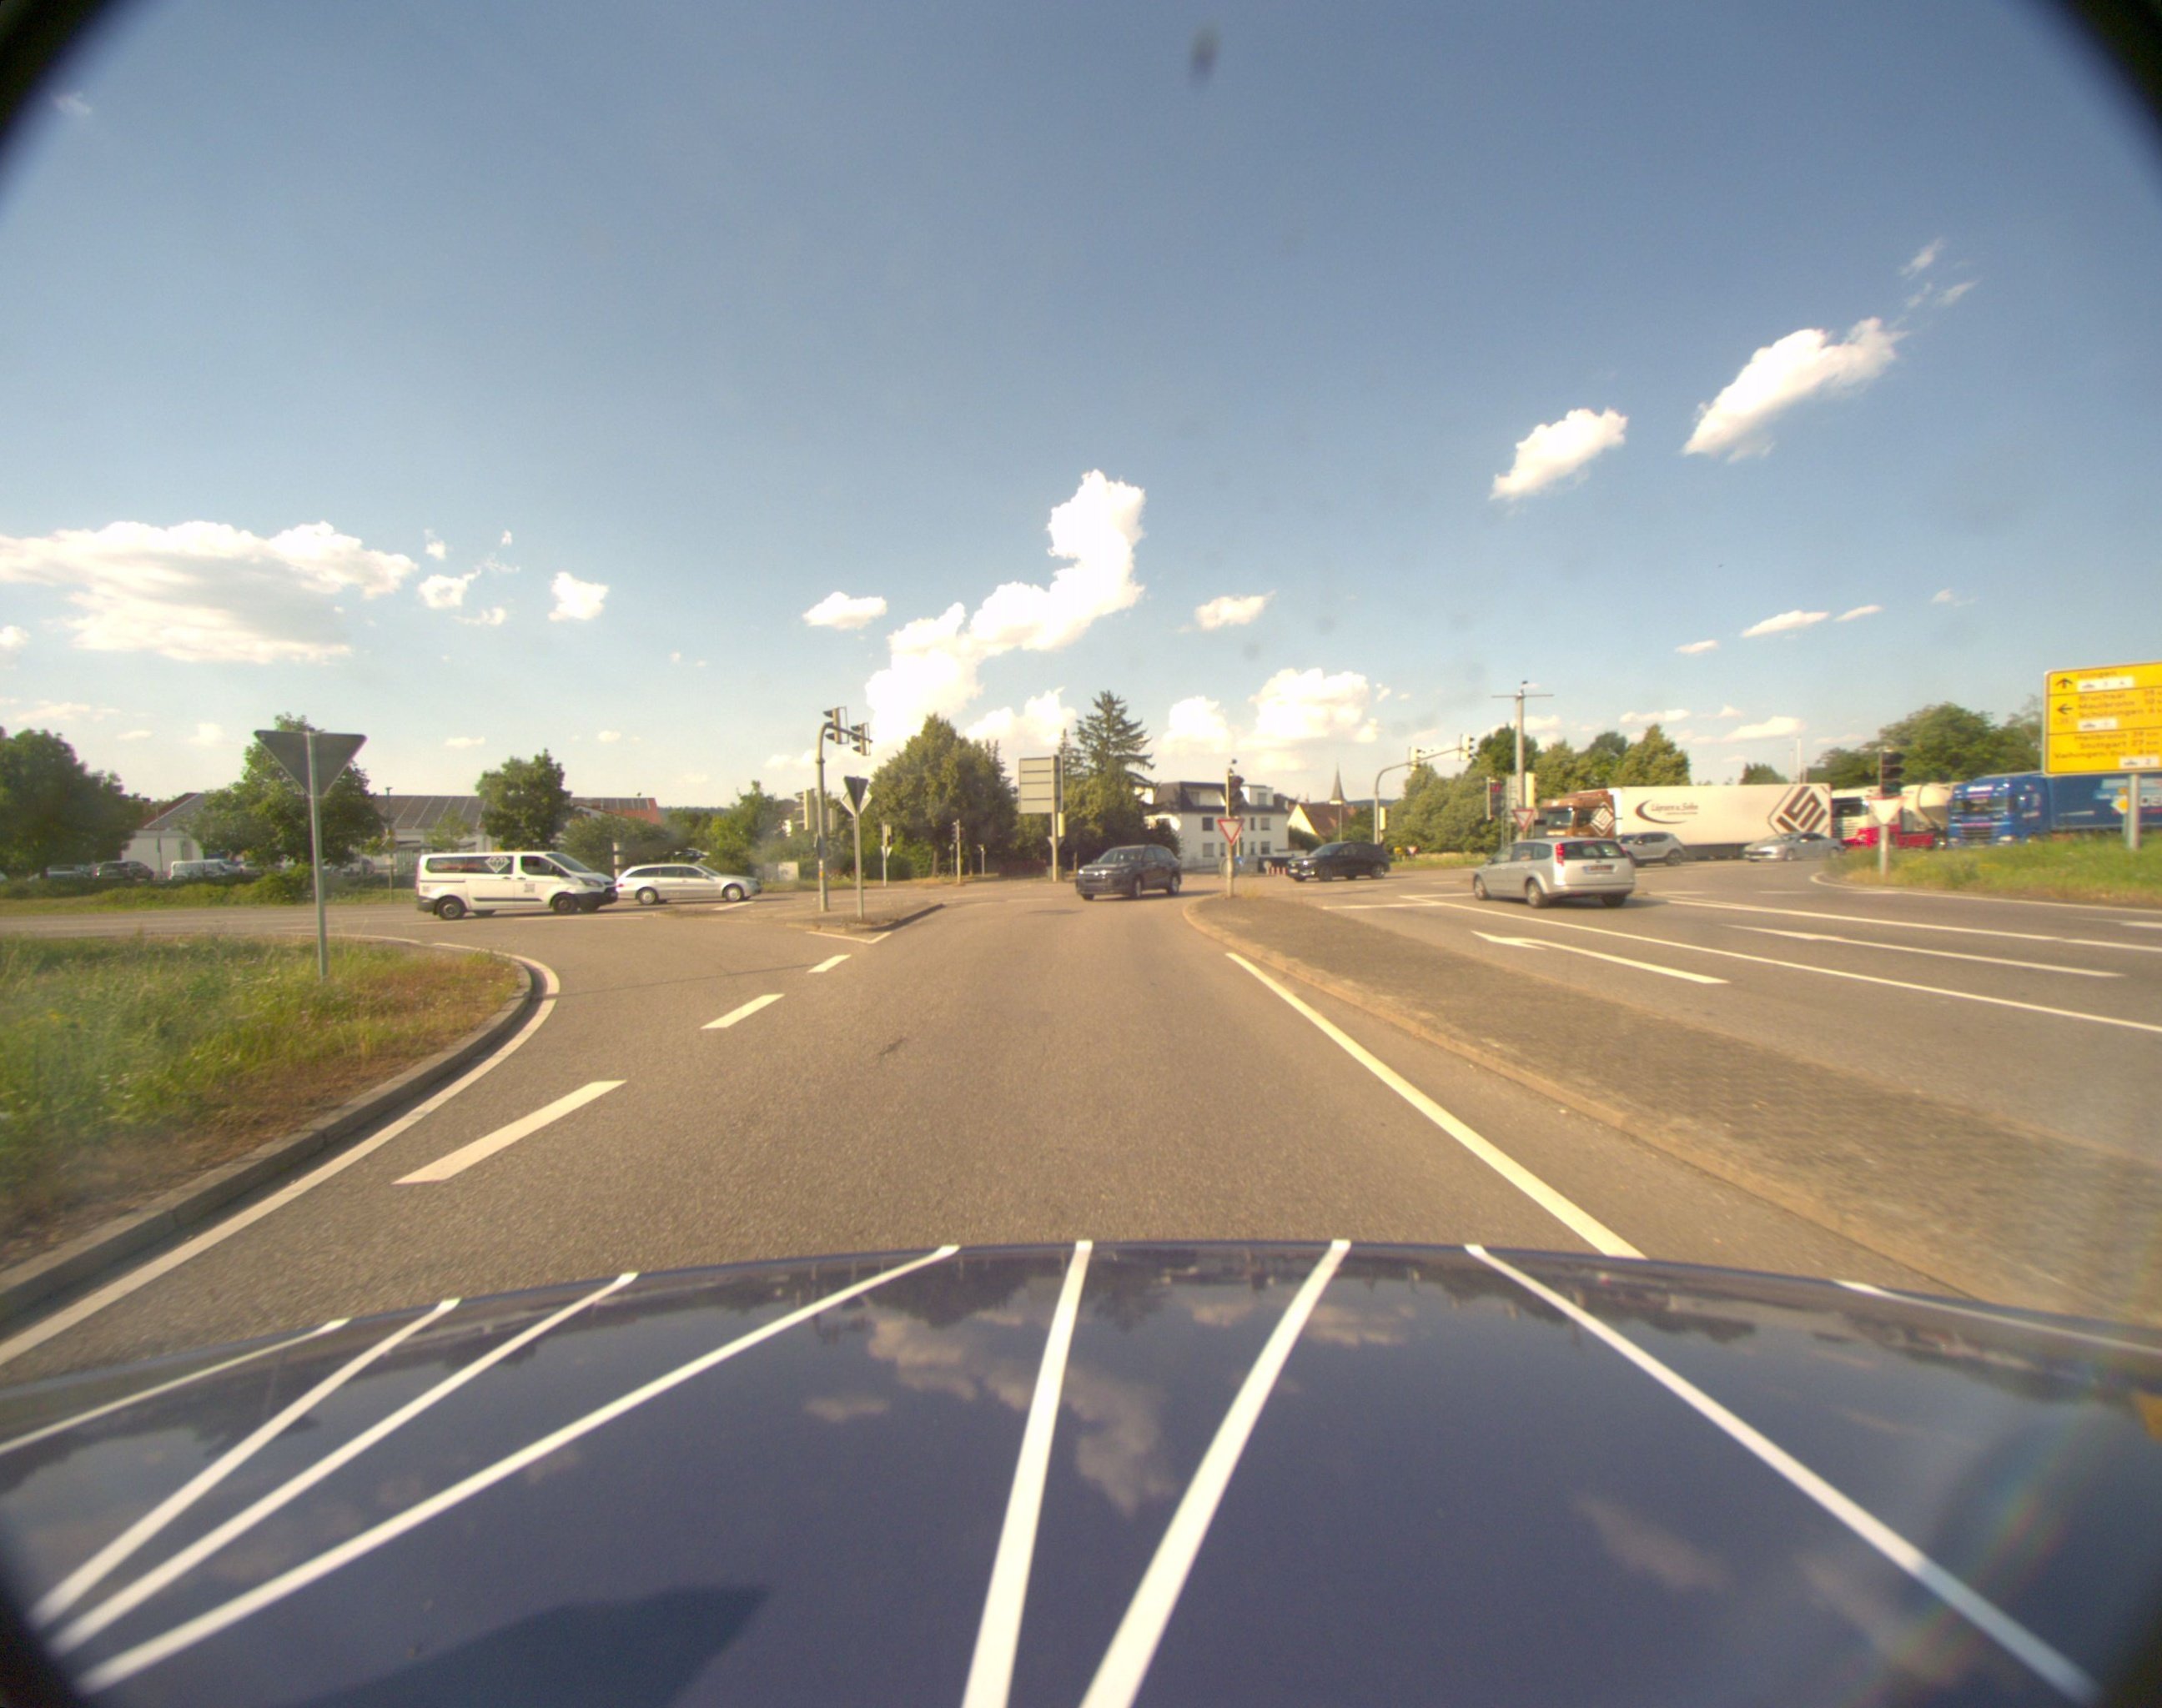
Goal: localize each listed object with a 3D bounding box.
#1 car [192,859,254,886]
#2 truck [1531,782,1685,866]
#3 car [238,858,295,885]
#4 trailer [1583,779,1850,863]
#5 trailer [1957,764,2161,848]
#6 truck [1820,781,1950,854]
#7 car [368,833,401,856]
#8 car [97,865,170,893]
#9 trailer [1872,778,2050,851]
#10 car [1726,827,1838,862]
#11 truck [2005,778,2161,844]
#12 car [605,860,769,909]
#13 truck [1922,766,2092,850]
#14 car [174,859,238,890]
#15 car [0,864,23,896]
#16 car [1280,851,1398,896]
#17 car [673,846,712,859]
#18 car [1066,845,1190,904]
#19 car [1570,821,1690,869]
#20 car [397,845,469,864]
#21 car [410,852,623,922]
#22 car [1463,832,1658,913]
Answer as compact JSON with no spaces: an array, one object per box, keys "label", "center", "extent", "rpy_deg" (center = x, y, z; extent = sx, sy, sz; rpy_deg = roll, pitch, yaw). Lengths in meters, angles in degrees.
[{"label":"car","center":[-69.424,1.496,61.568],"extent":[2.003,2.001,4.922],"rpy_deg":[-2,-1,-32]},{"label":"truck","center":[27.422,-1.540,39.658],"extent":[6.663,4.019,2.538],"rpy_deg":[-3,0,-11]},{"label":"car","center":[-67.573,1.475,63.102],"extent":[2.003,2.001,4.663],"rpy_deg":[-2,-1,-32]},{"label":"trailer","center":[34.391,-1.801,41.073],"extent":[14.338,4.043,2.538],"rpy_deg":[-2,0,-11]},{"label":"trailer","center":[55.372,-2.655,41.529],"extent":[13.752,3.981,3.416],"rpy_deg":[-2,0,-12]},{"label":"truck","center":[45.115,-2.029,42.697],"extent":[5.687,3.782,2.261],"rpy_deg":[-3,0,-12]},{"label":"car","center":[-64.074,-0.866,69.978],"extent":[1.835,1.834,3.779],"rpy_deg":[-2,0,-37]},{"label":"car","center":[-73.457,1.929,59.013],"extent":[2.003,2.001,4.922],"rpy_deg":[-2,-1,-32]},{"label":"trailer","center":[50.780,-2.258,43.860],"extent":[9.527,3.754,2.264],"rpy_deg":[-2,-1,-12]},{"label":"car","center":[33.963,-0.448,36.875],"extent":[4.001,1.477,1.998],"rpy_deg":[-3,0,-12]},{"label":"truck","center":[65.255,-2.780,48.160],"extent":[12.900,3.751,2.528],"rpy_deg":[-2,0,-11]},{"label":"car","center":[-14.256,1.077,27.807],"extent":[4.954,1.504,1.861],"rpy_deg":[-2,0,-12]},{"label":"truck","center":[48.776,-2.370,40.124],"extent":[5.602,3.981,3.373],"rpy_deg":[-3,0,-12]},{"label":"car","center":[-61.077,1.477,53.128],"extent":[1.971,2.002,4.645],"rpy_deg":[-2,0,-38]},{"label":"car","center":[-69.188,1.637,47.373],"extent":[2.003,2.001,4.922],"rpy_deg":[-2,-1,-32]},{"label":"car","center":[10.803,0.781,31.798],"extent":[4.552,1.603,1.773],"rpy_deg":[-2,0,-21]},{"label":"car","center":[-45.648,-0.139,89.287],"extent":[3.942,1.367,2.016],"rpy_deg":[-1,-1,-32]},{"label":"car","center":[1.567,0.582,23.584],"extent":[1.784,1.619,4.477],"rpy_deg":[-3,0,34]},{"label":"car","center":[25.036,-0.412,34.711],"extent":[4.373,1.936,1.907],"rpy_deg":[-3,0,-12]},{"label":"car","center":[-58.970,-0.007,69.278],"extent":[4.801,1.525,1.846],"rpy_deg":[-2,0,-36]},{"label":"car","center":[-16.908,0.945,23.030],"extent":[4.820,1.936,1.905],"rpy_deg":[-1,-1,-12]},{"label":"car","center":[10.422,0.436,16.976],"extent":[1.818,1.519,4.356],"rpy_deg":[-3,-2,5]}]
